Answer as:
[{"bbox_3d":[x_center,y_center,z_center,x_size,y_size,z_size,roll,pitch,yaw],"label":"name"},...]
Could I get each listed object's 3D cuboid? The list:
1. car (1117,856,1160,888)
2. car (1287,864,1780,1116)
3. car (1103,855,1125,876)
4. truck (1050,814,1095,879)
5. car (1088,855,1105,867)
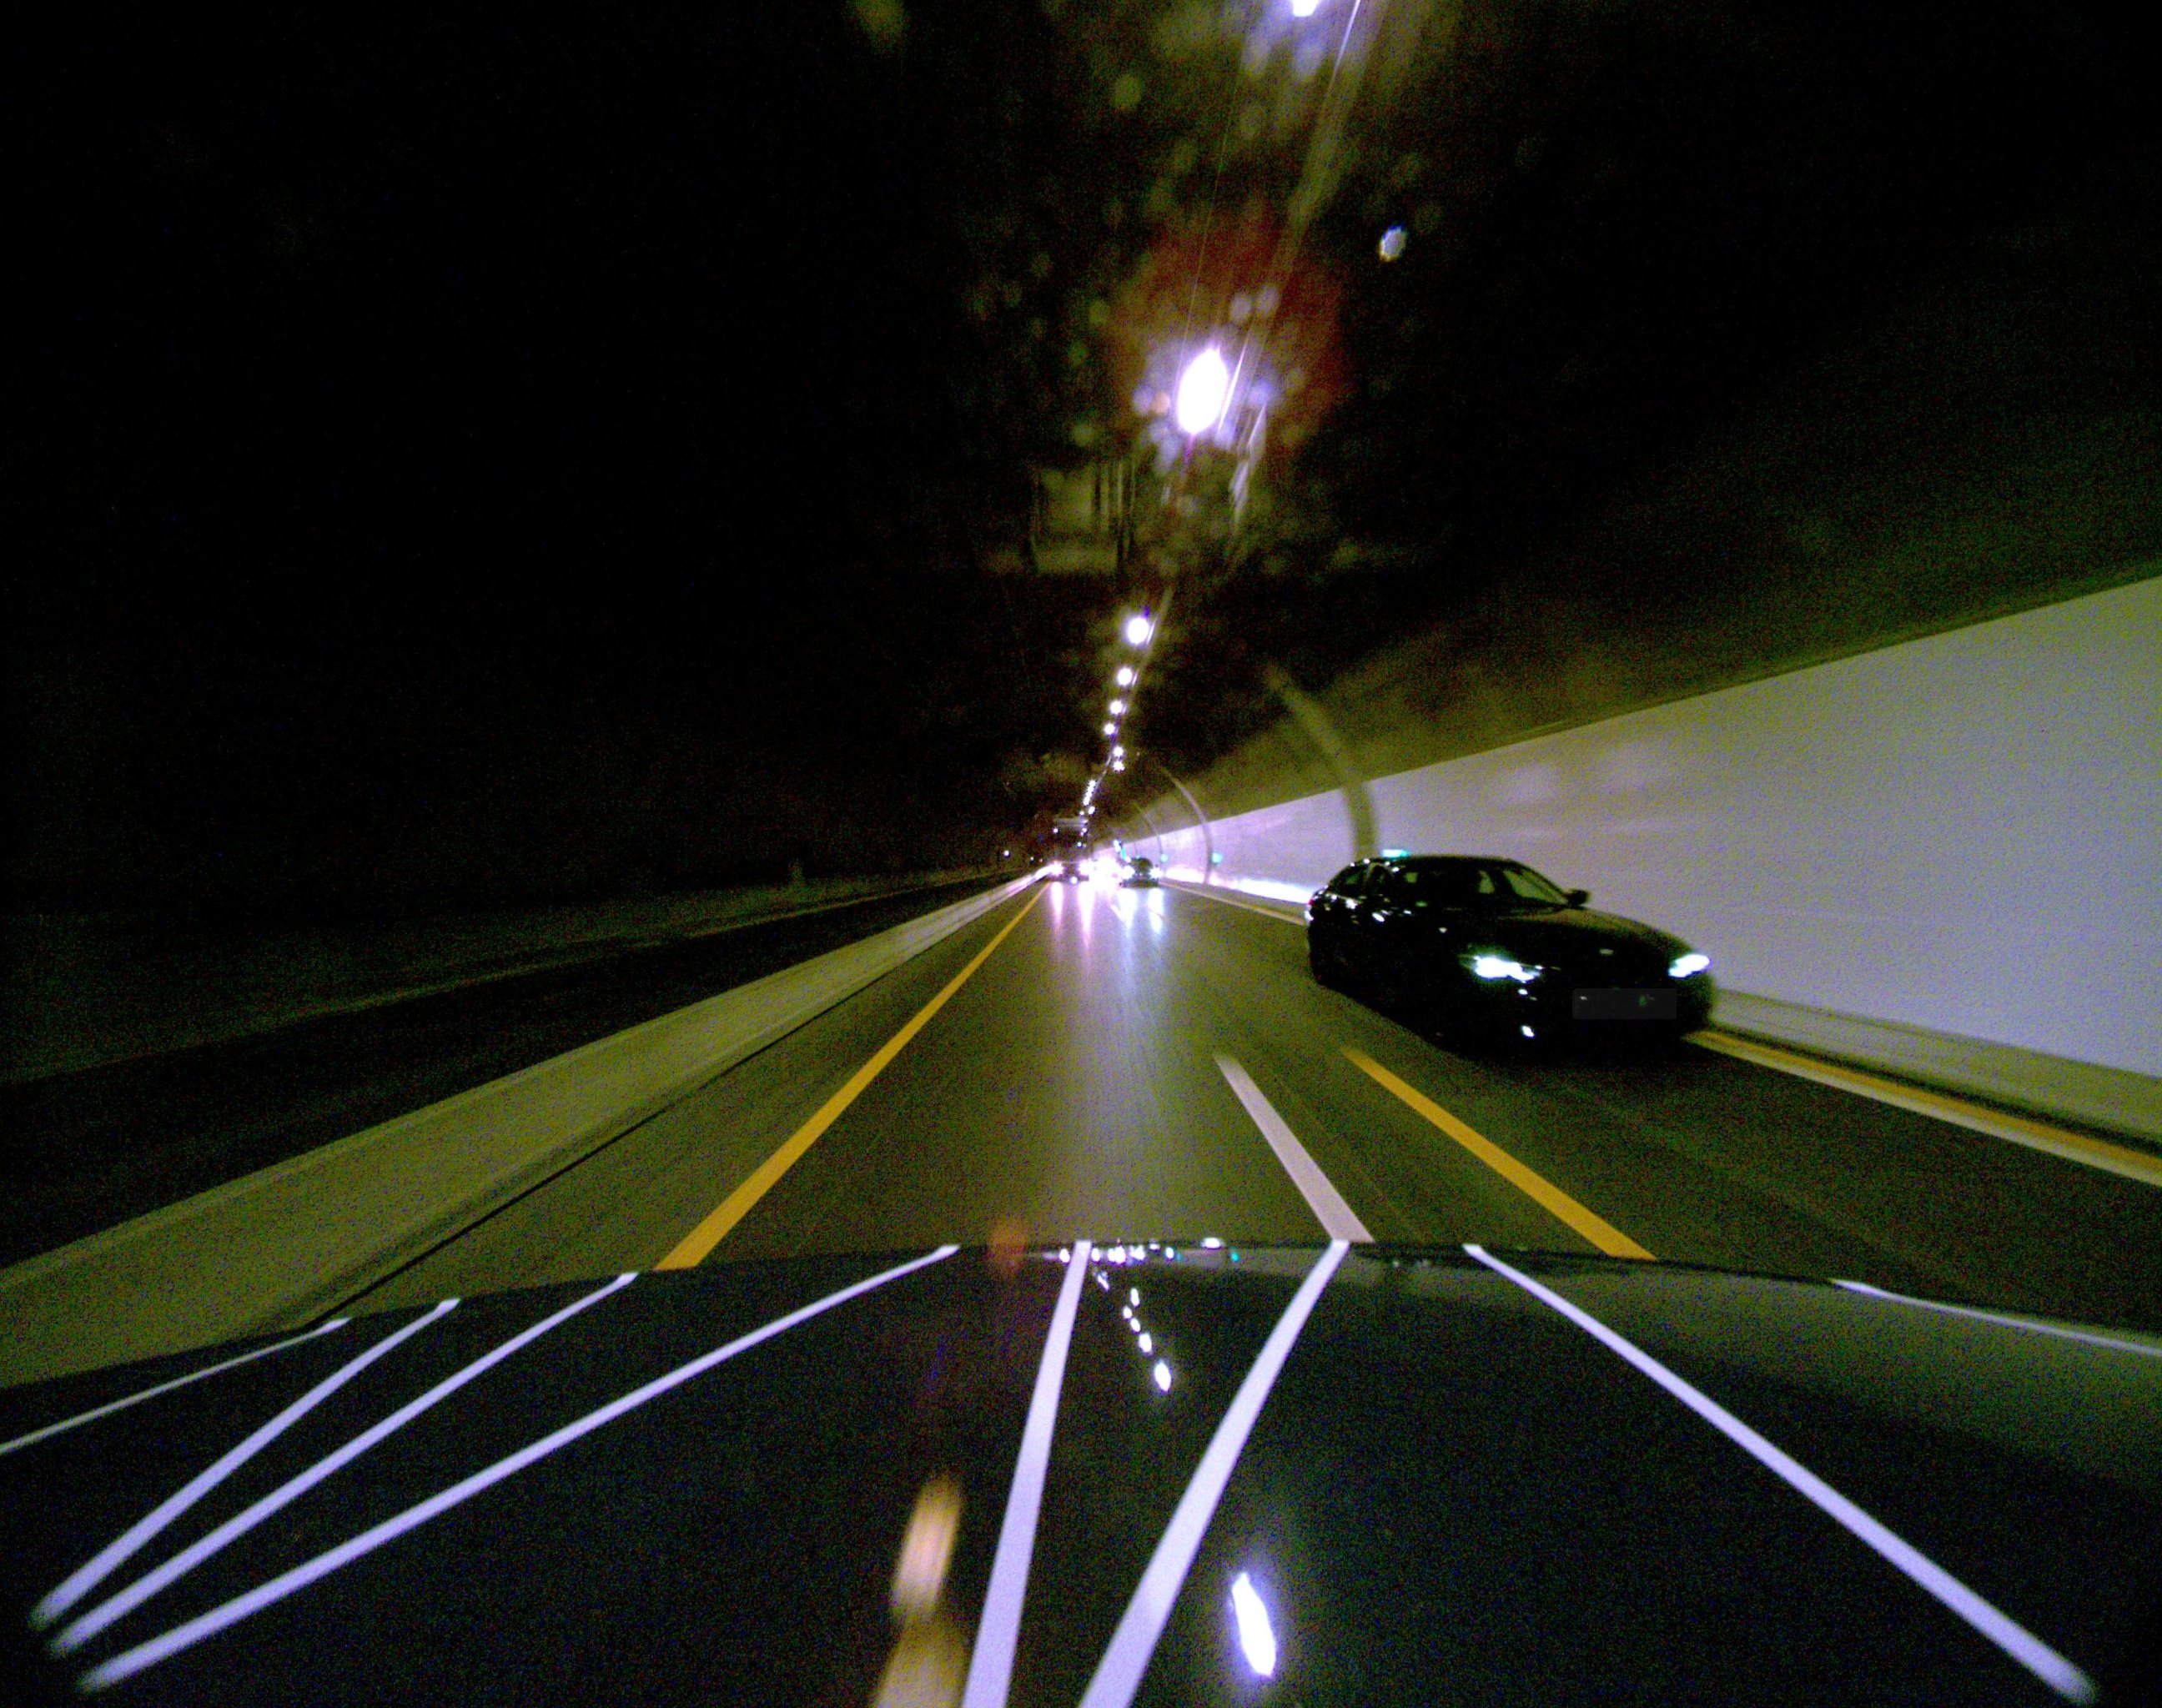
[{"bbox_3d":[2.863,0.868,38.785,1.782,1.430,4.882,-2,0,0],"label":"car"},{"bbox_3d":[3.467,0.882,7.159,1.782,1.430,4.883,-2,0,1],"label":"car"},{"bbox_3d":[2.568,0.871,59.572,1.531,1.508,2.651,-2,0,0],"label":"car"},{"bbox_3d":[-0.588,-0.501,52.848,2.742,4.127,8.099,-2,0,0],"label":"truck"},{"bbox_3d":[1.966,0.846,95.489,1.909,1.412,4.060,-2,0,-1],"label":"car"}]
